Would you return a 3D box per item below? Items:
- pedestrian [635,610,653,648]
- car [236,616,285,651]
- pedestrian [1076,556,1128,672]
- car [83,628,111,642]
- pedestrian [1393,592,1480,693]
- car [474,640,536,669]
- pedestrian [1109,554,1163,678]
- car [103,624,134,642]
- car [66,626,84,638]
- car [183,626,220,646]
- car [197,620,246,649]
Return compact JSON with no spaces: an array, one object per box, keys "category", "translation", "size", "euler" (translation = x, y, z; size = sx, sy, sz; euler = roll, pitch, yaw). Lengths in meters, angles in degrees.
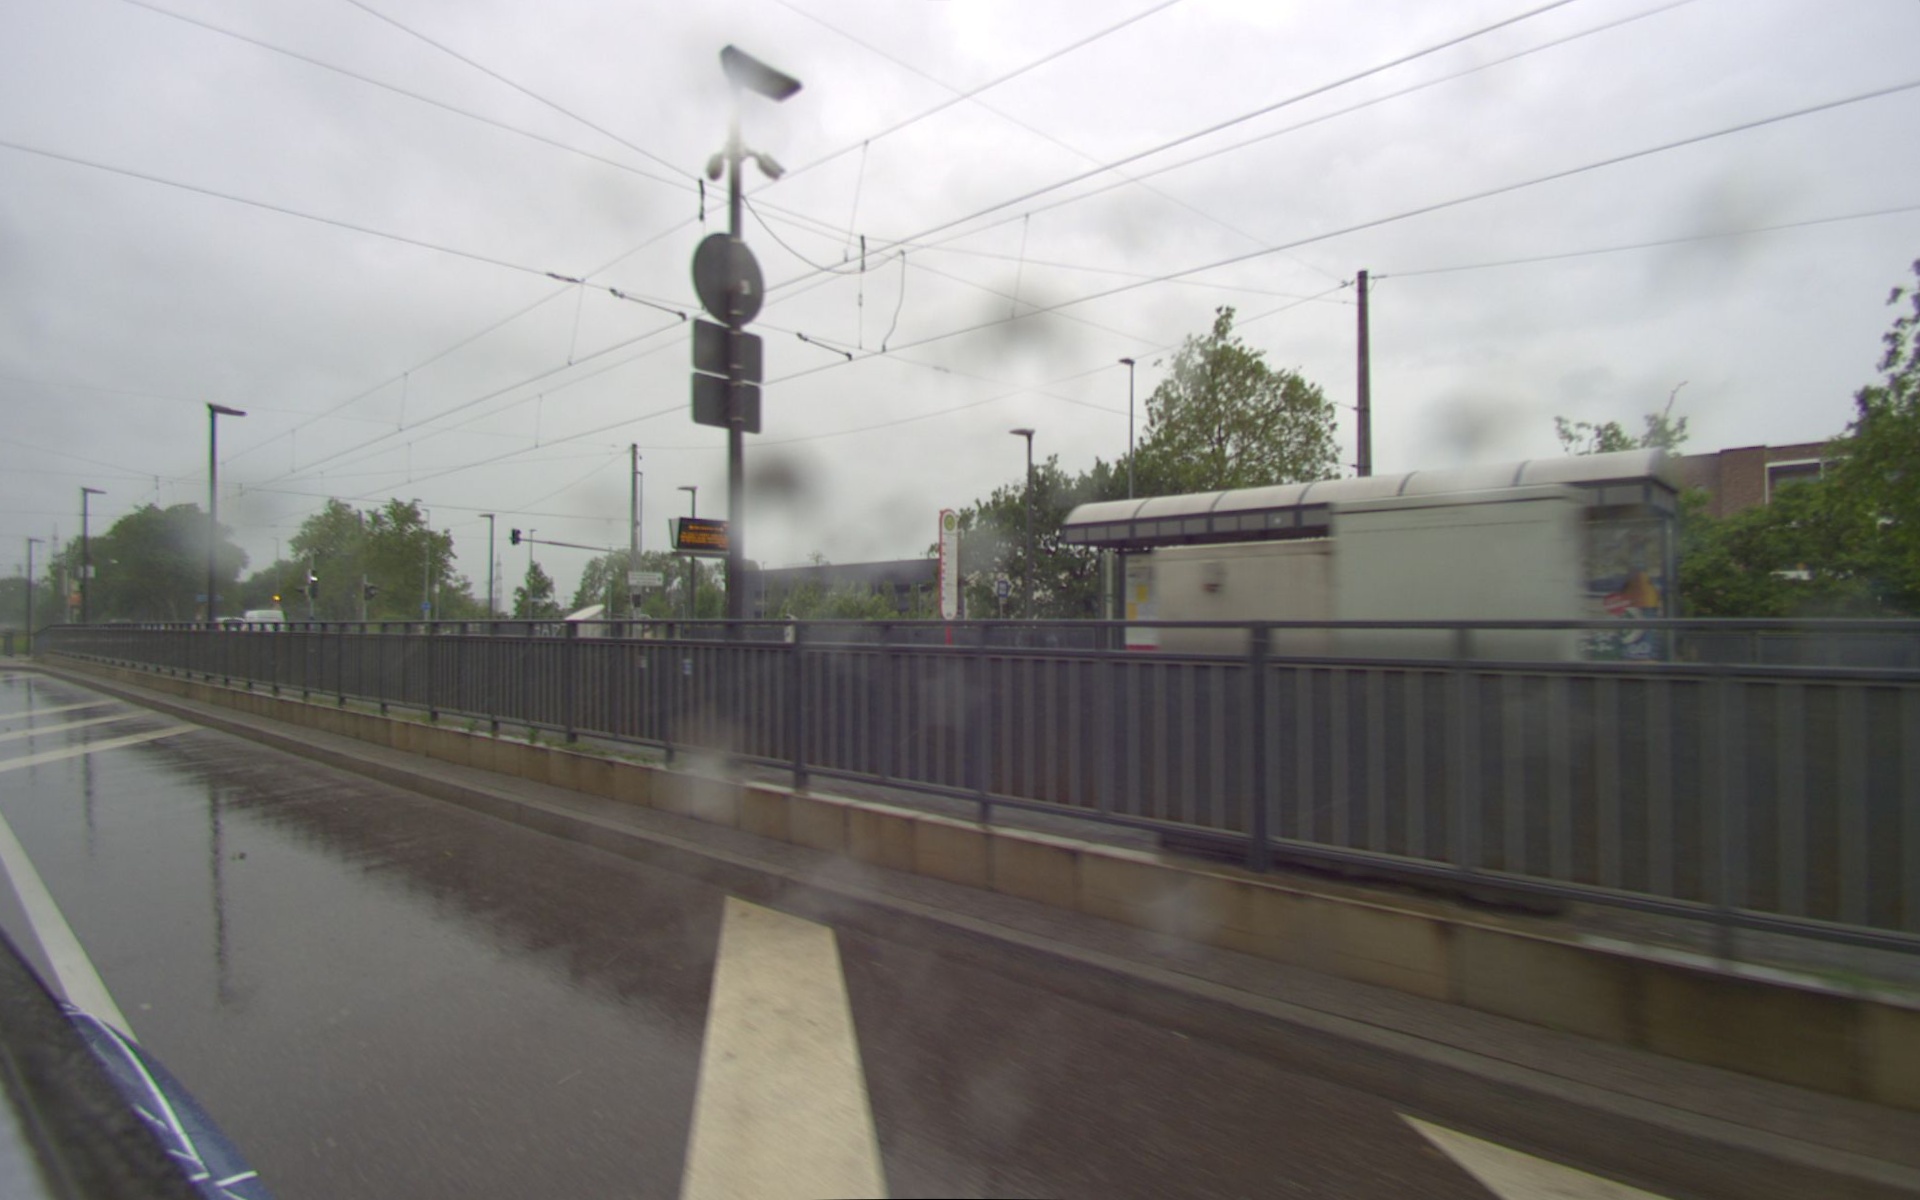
[{"category":"pedestrian","translation":[-17.066,1.588,54.703],"size":[0.697,2.029,0.691],"euler":[-2,-2,43]},{"category":"car","translation":[-55.945,2.652,80.929],"size":[5.738,2.733,2.096],"euler":[-2,-1,43]},{"category":"pedestrian","translation":[5.092,0.488,36.276],"size":[1.514,4.059,1.160],"euler":[-1,-1,32]},{"category":"car","translation":[-101.705,4.141,119.198],"size":[4.381,1.608,1.971],"euler":[-2,-6,44]},{"category":"pedestrian","translation":[6.622,0.573,14.072],"size":[0.858,1.326,0.822],"euler":[-2,-1,43]},{"category":"car","translation":[-32.745,3.908,72.805],"size":[3.931,1.874,2.006],"euler":[-1,-1,-27]},{"category":"pedestrian","translation":[5.910,0.530,34.012],"size":[1.152,4.059,1.524],"euler":[0,-1,-19]},{"category":"car","translation":[-87.768,3.431,105.517],"size":[4.258,1.785,1.972],"euler":[-2,-1,43]},{"category":"car","translation":[-127.179,4.605,145.426],"size":[3.619,1.602,1.584],"euler":[-1,-1,43]},{"category":"car","translation":[-69.582,3.288,92.824],"size":[4.625,1.720,1.972],"euler":[-2,-1,43]},{"category":"car","translation":[-53.599,2.476,73.444],"size":[4.753,2.029,1.972],"euler":[-2,-1,43]}]
